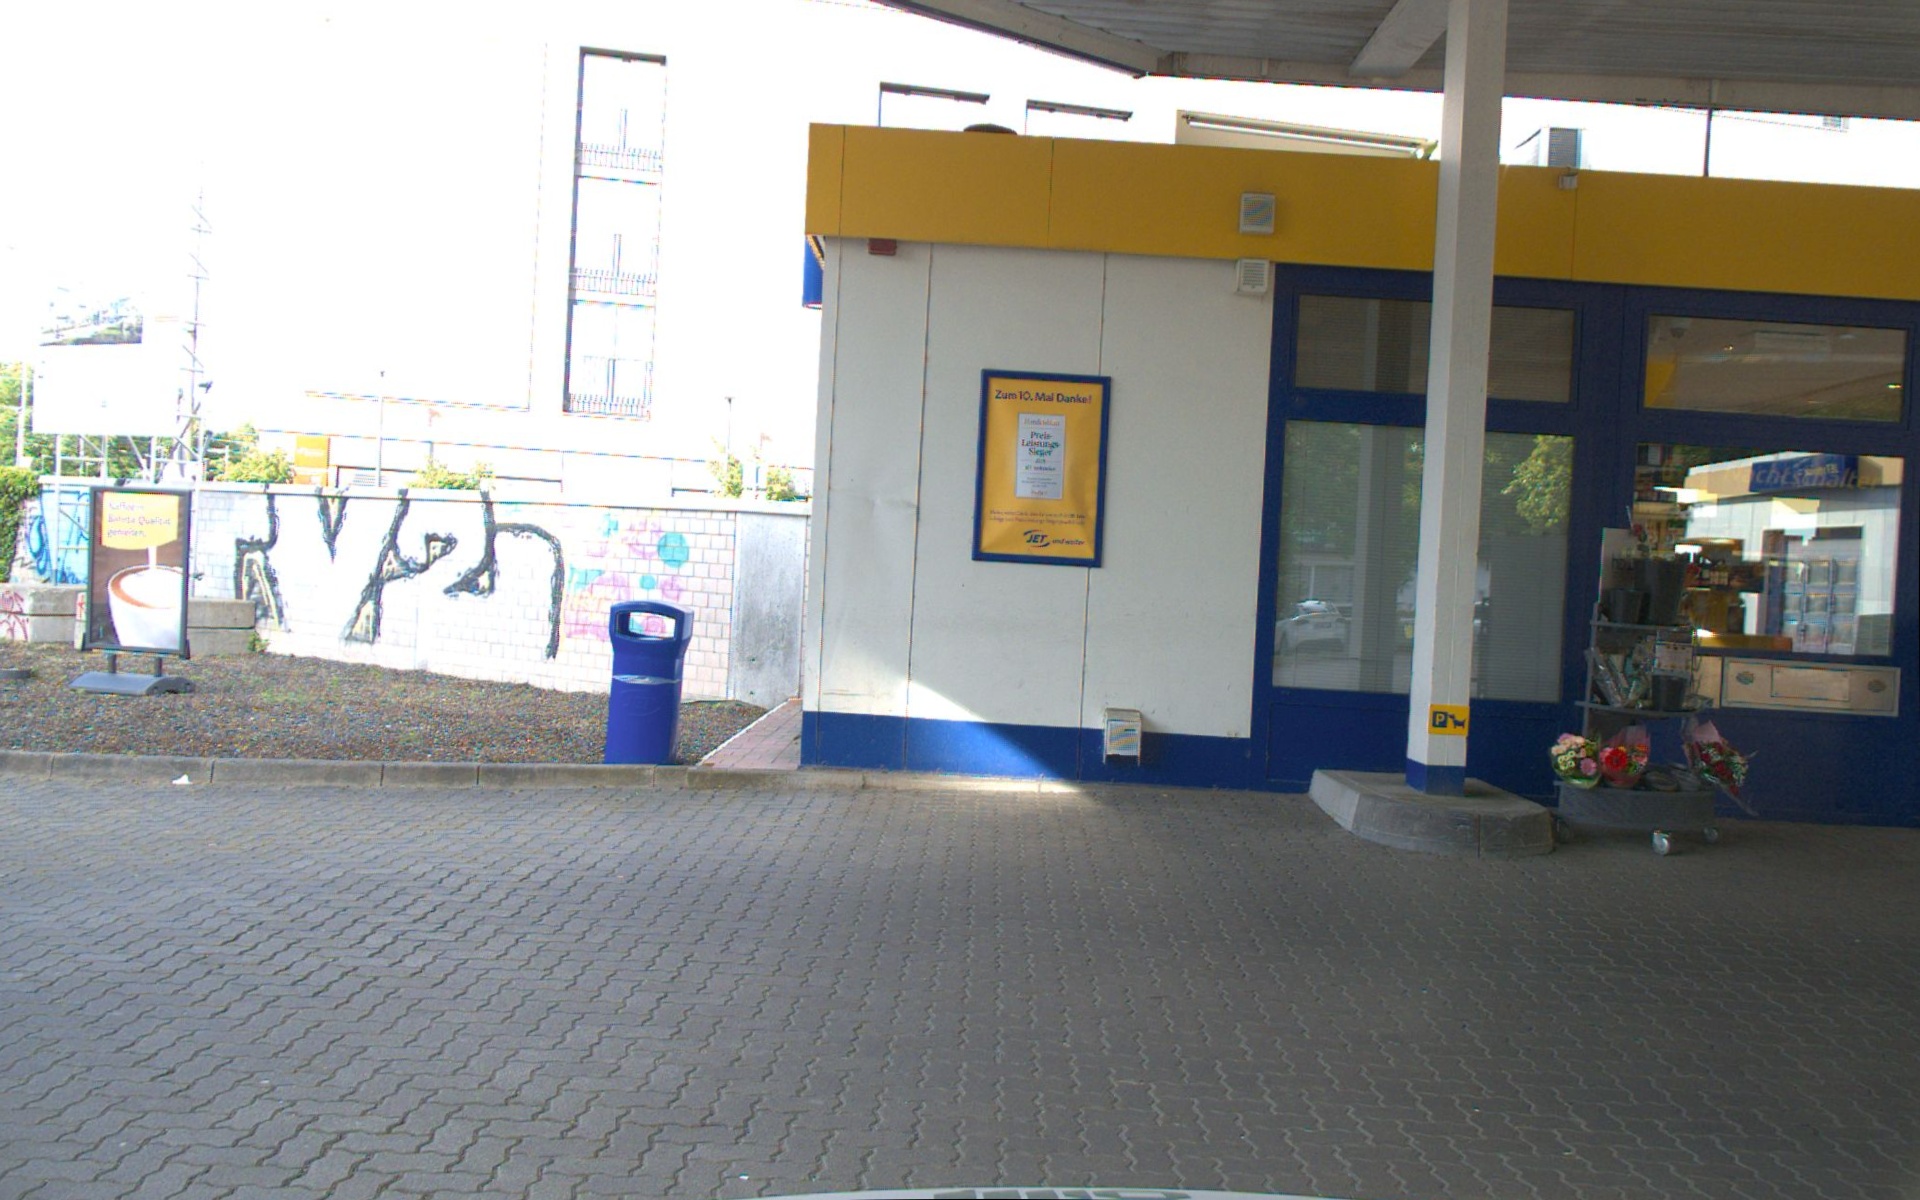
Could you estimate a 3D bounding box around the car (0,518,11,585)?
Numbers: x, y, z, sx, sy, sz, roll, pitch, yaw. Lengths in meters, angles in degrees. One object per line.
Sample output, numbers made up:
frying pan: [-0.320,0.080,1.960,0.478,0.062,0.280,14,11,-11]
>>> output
car: [-23.336,-1.155,38.034,1.698,1.569,3.982,4,1,-17]

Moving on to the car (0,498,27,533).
car: [-56.464,-4.953,96.460,1.957,2.002,4.878,2,2,-10]
